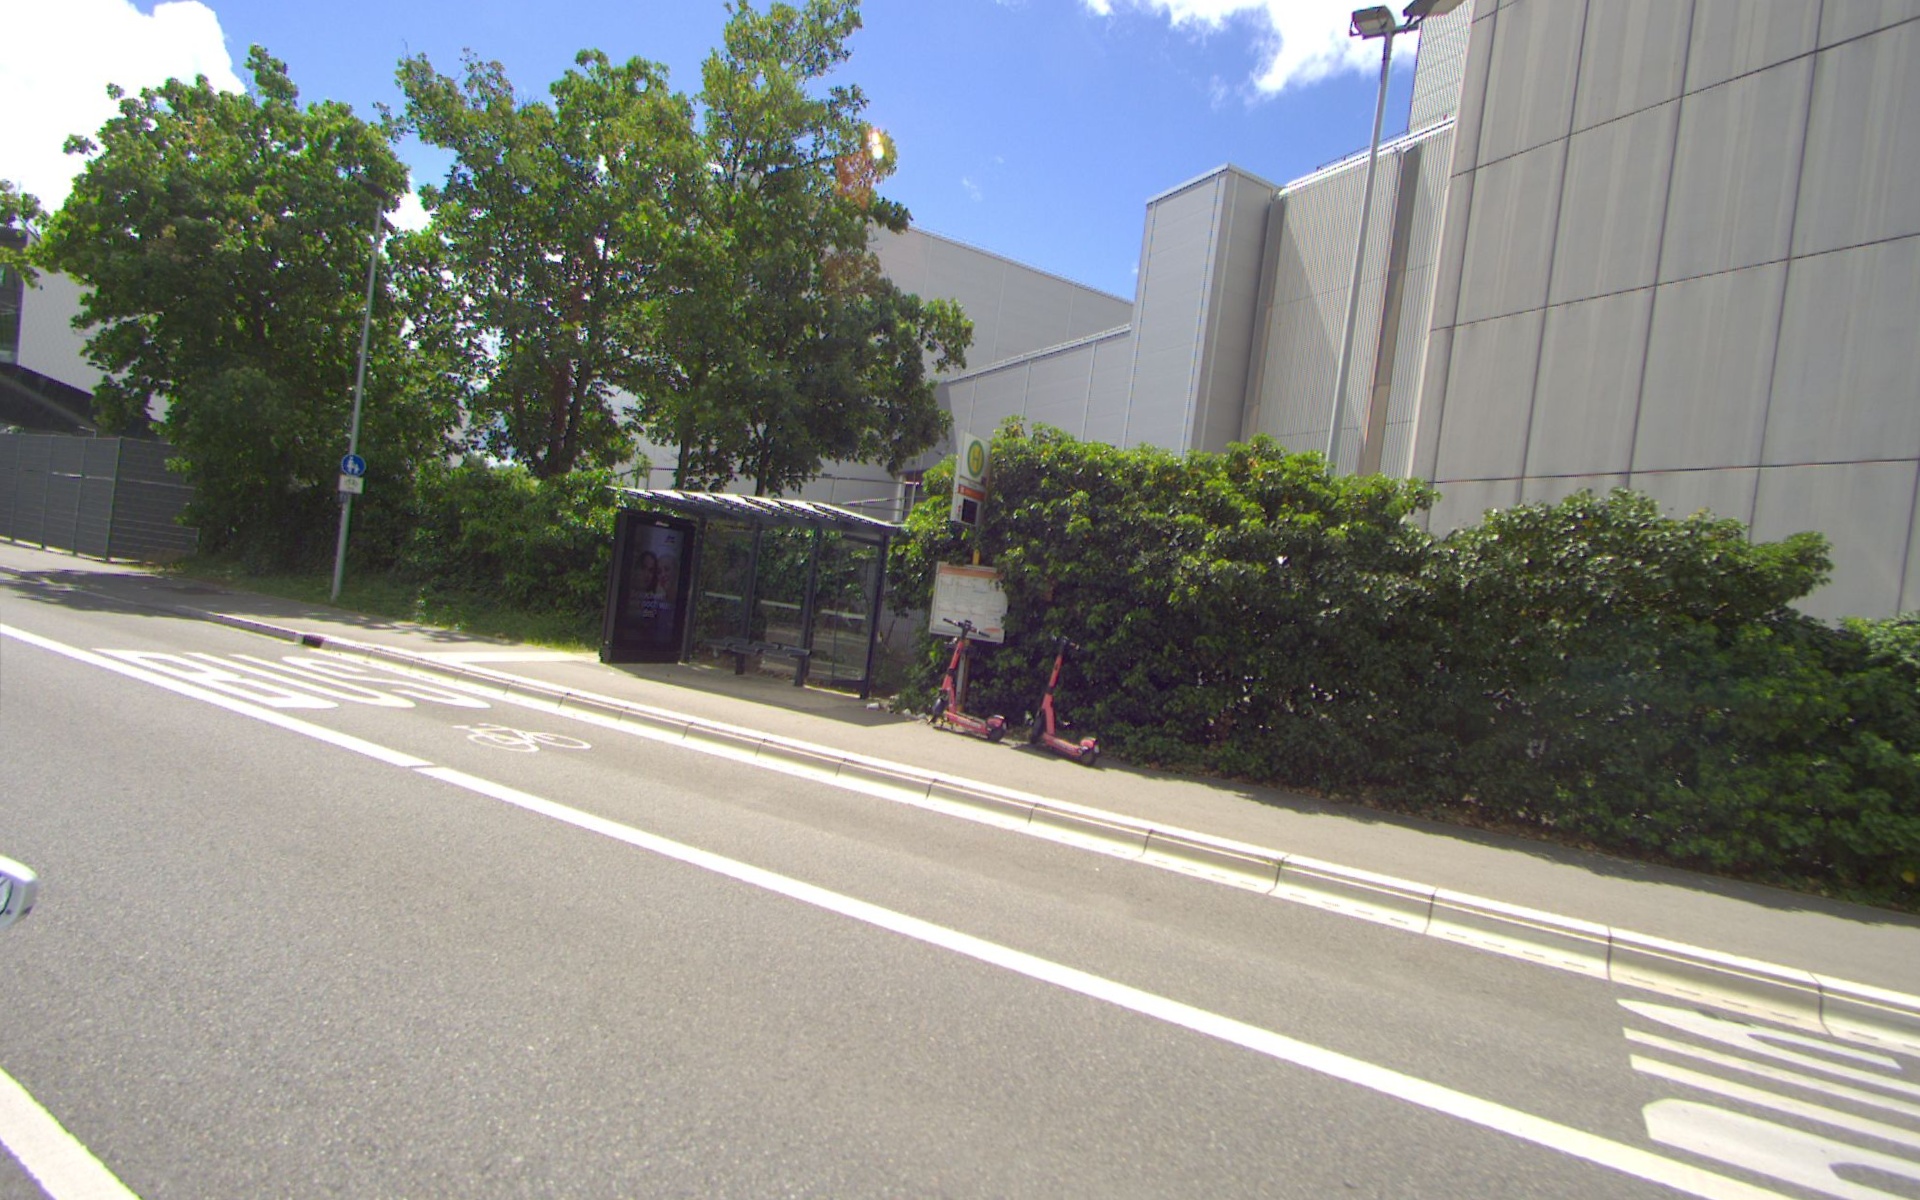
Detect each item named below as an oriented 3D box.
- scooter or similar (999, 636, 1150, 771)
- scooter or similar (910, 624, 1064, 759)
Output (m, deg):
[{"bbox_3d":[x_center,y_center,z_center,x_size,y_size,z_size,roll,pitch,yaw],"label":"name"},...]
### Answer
[{"bbox_3d":[1.185,1.073,10.829,0.537,1.177,1.777,6,1,-31],"label":"scooter or similar"},{"bbox_3d":[0.239,0.960,11.123,0.537,1.177,2.110,6,1,-31],"label":"scooter or similar"}]
